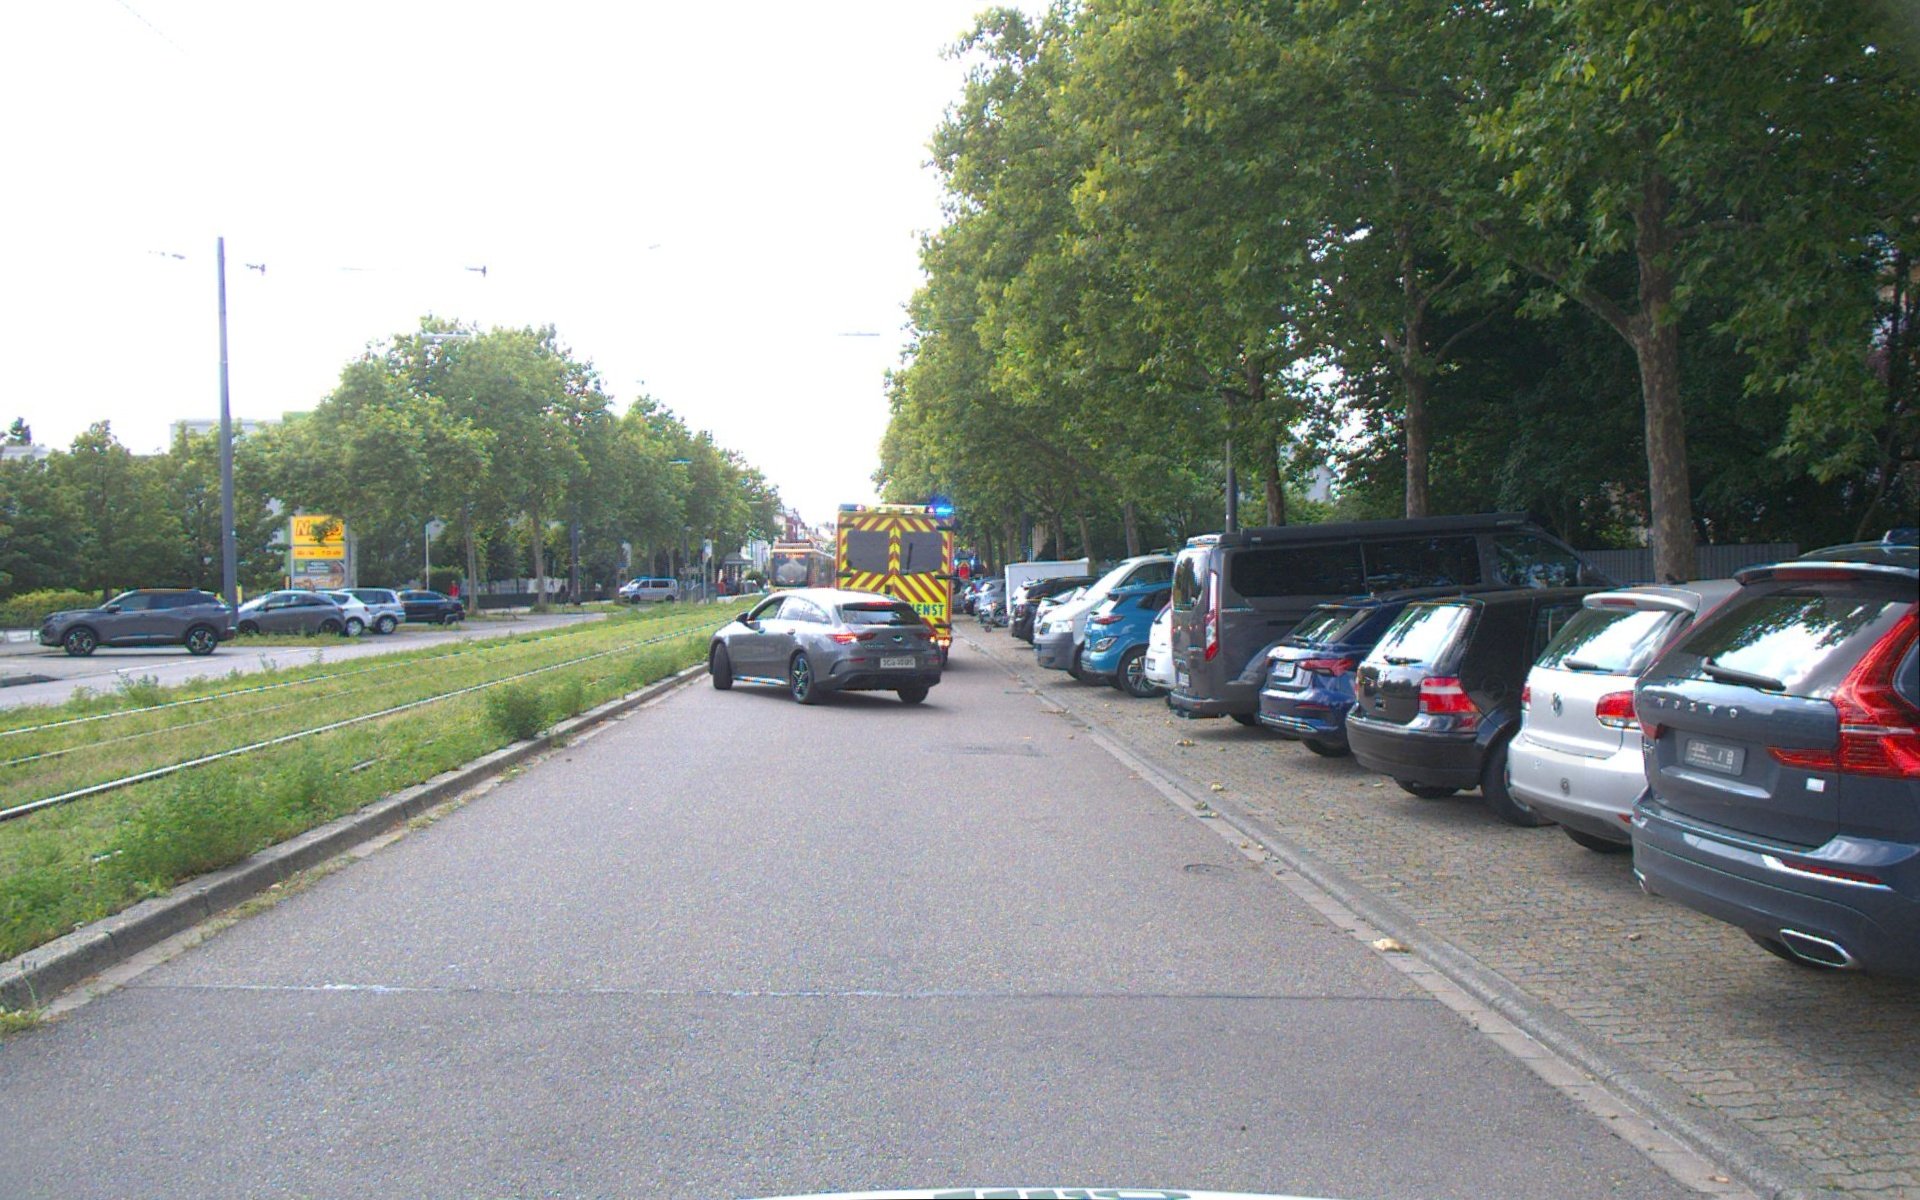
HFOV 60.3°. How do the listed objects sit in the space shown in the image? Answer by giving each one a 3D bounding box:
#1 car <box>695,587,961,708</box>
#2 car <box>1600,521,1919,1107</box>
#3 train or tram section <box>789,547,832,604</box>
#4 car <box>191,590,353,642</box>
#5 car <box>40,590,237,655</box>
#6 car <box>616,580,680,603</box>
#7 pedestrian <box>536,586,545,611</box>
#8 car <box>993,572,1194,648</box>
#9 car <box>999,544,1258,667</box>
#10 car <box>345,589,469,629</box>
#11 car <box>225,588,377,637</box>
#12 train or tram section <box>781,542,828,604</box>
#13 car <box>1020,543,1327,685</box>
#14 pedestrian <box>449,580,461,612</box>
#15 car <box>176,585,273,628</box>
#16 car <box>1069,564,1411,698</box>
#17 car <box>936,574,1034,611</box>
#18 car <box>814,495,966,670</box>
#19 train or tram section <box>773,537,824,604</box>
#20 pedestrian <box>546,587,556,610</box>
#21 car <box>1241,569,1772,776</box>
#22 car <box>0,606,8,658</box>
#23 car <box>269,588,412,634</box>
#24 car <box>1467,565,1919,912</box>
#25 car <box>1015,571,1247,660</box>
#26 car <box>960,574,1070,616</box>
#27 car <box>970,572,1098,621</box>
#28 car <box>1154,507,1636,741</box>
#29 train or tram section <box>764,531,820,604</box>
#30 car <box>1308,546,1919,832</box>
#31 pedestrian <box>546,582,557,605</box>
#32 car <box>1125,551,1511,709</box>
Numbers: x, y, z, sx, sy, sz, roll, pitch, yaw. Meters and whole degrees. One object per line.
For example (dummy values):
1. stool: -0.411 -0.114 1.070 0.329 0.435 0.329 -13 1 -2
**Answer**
1. car: -1.895 0.569 22.316 1.744 1.409 4.419 1 0 -32
2. car: 4.676 0.542 5.630 4.292 1.668 1.756 -2 0 -1
3. train or tram section: -9.985 -1.580 110.990 2.462 3.646 7.441 -2 0 -3
4. car: -20.811 0.463 50.099 4.192 1.508 1.857 0 0 -39
5. car: -19.811 0.517 40.000 4.172 1.508 1.867 0 0 -28
6. car: -24.245 -0.650 128.657 4.588 1.661 1.855 -1 1 -42
7. pedestrian: -25.939 -0.082 102.266 0.413 1.499 0.467 -1 0 -7
8. car: 3.132 0.224 39.332 4.458 1.636 1.853 -2 0 -7
9. car: 3.074 0.085 30.694 4.458 2.079 1.853 -2 0 -7
10. car: -21.452 0.322 64.212 4.199 1.508 1.854 0 0 -42
11. car: -21.082 0.385 52.991 4.192 1.508 1.857 0 0 -39
12. train or tram section: -9.652 -1.608 103.559 2.462 3.646 7.441 -2 0 -3
13. car: 3.308 0.193 26.108 4.458 2.035 1.853 -2 0 -7
14. pedestrian: -26.907 -0.213 88.131 0.457 1.706 0.603 -1 0 -4
15. car: -32.502 0.282 73.090 3.912 1.780 1.997 2 1 29
16. car: 3.930 0.407 23.598 4.459 1.689 1.853 -2 0 -7
17. car: 1.183 -0.358 78.911 4.458 1.636 1.853 -2 0 -7
18. car: -1.285 -0.325 32.527 2.588 3.018 6.298 2 0 -1
19. train or tram section: -9.313 -1.635 96.125 2.462 3.646 7.441 -2 0 -3
20. pedestrian: -25.746 -0.114 104.152 0.412 1.439 0.467 -1 0 22
21. car: 4.521 0.569 14.057 3.887 1.520 1.755 -2 0 -3
22. car: -31.177 0.942 49.830 3.905 1.592 1.777 1 0 0
23. car: -20.961 0.363 56.024 4.192 1.508 1.857 0 0 -39
24. car: 4.835 0.591 8.488 3.887 1.520 1.755 -2 0 -3
25. car: 3.487 0.297 34.187 4.458 1.636 1.853 -2 0 -7
26. car: 2.349 -0.239 70.724 4.458 1.636 1.853 -2 0 -7
27. car: 2.689 -0.147 60.882 4.458 1.636 1.853 -2 0 -7
28. car: 4.400 0.220 17.163 4.455 2.160 1.855 -2 0 -3
29. train or tram section: -8.965 -1.662 88.704 2.462 3.646 7.441 -2 0 -3
30. car: 4.546 0.512 11.199 3.897 1.633 1.750 -2 0 -13
31. pedestrian: -27.790 -0.439 112.597 0.620 1.578 0.621 -1 0 -6
32. car: 4.472 0.352 21.088 4.455 1.797 1.855 -2 0 -3
